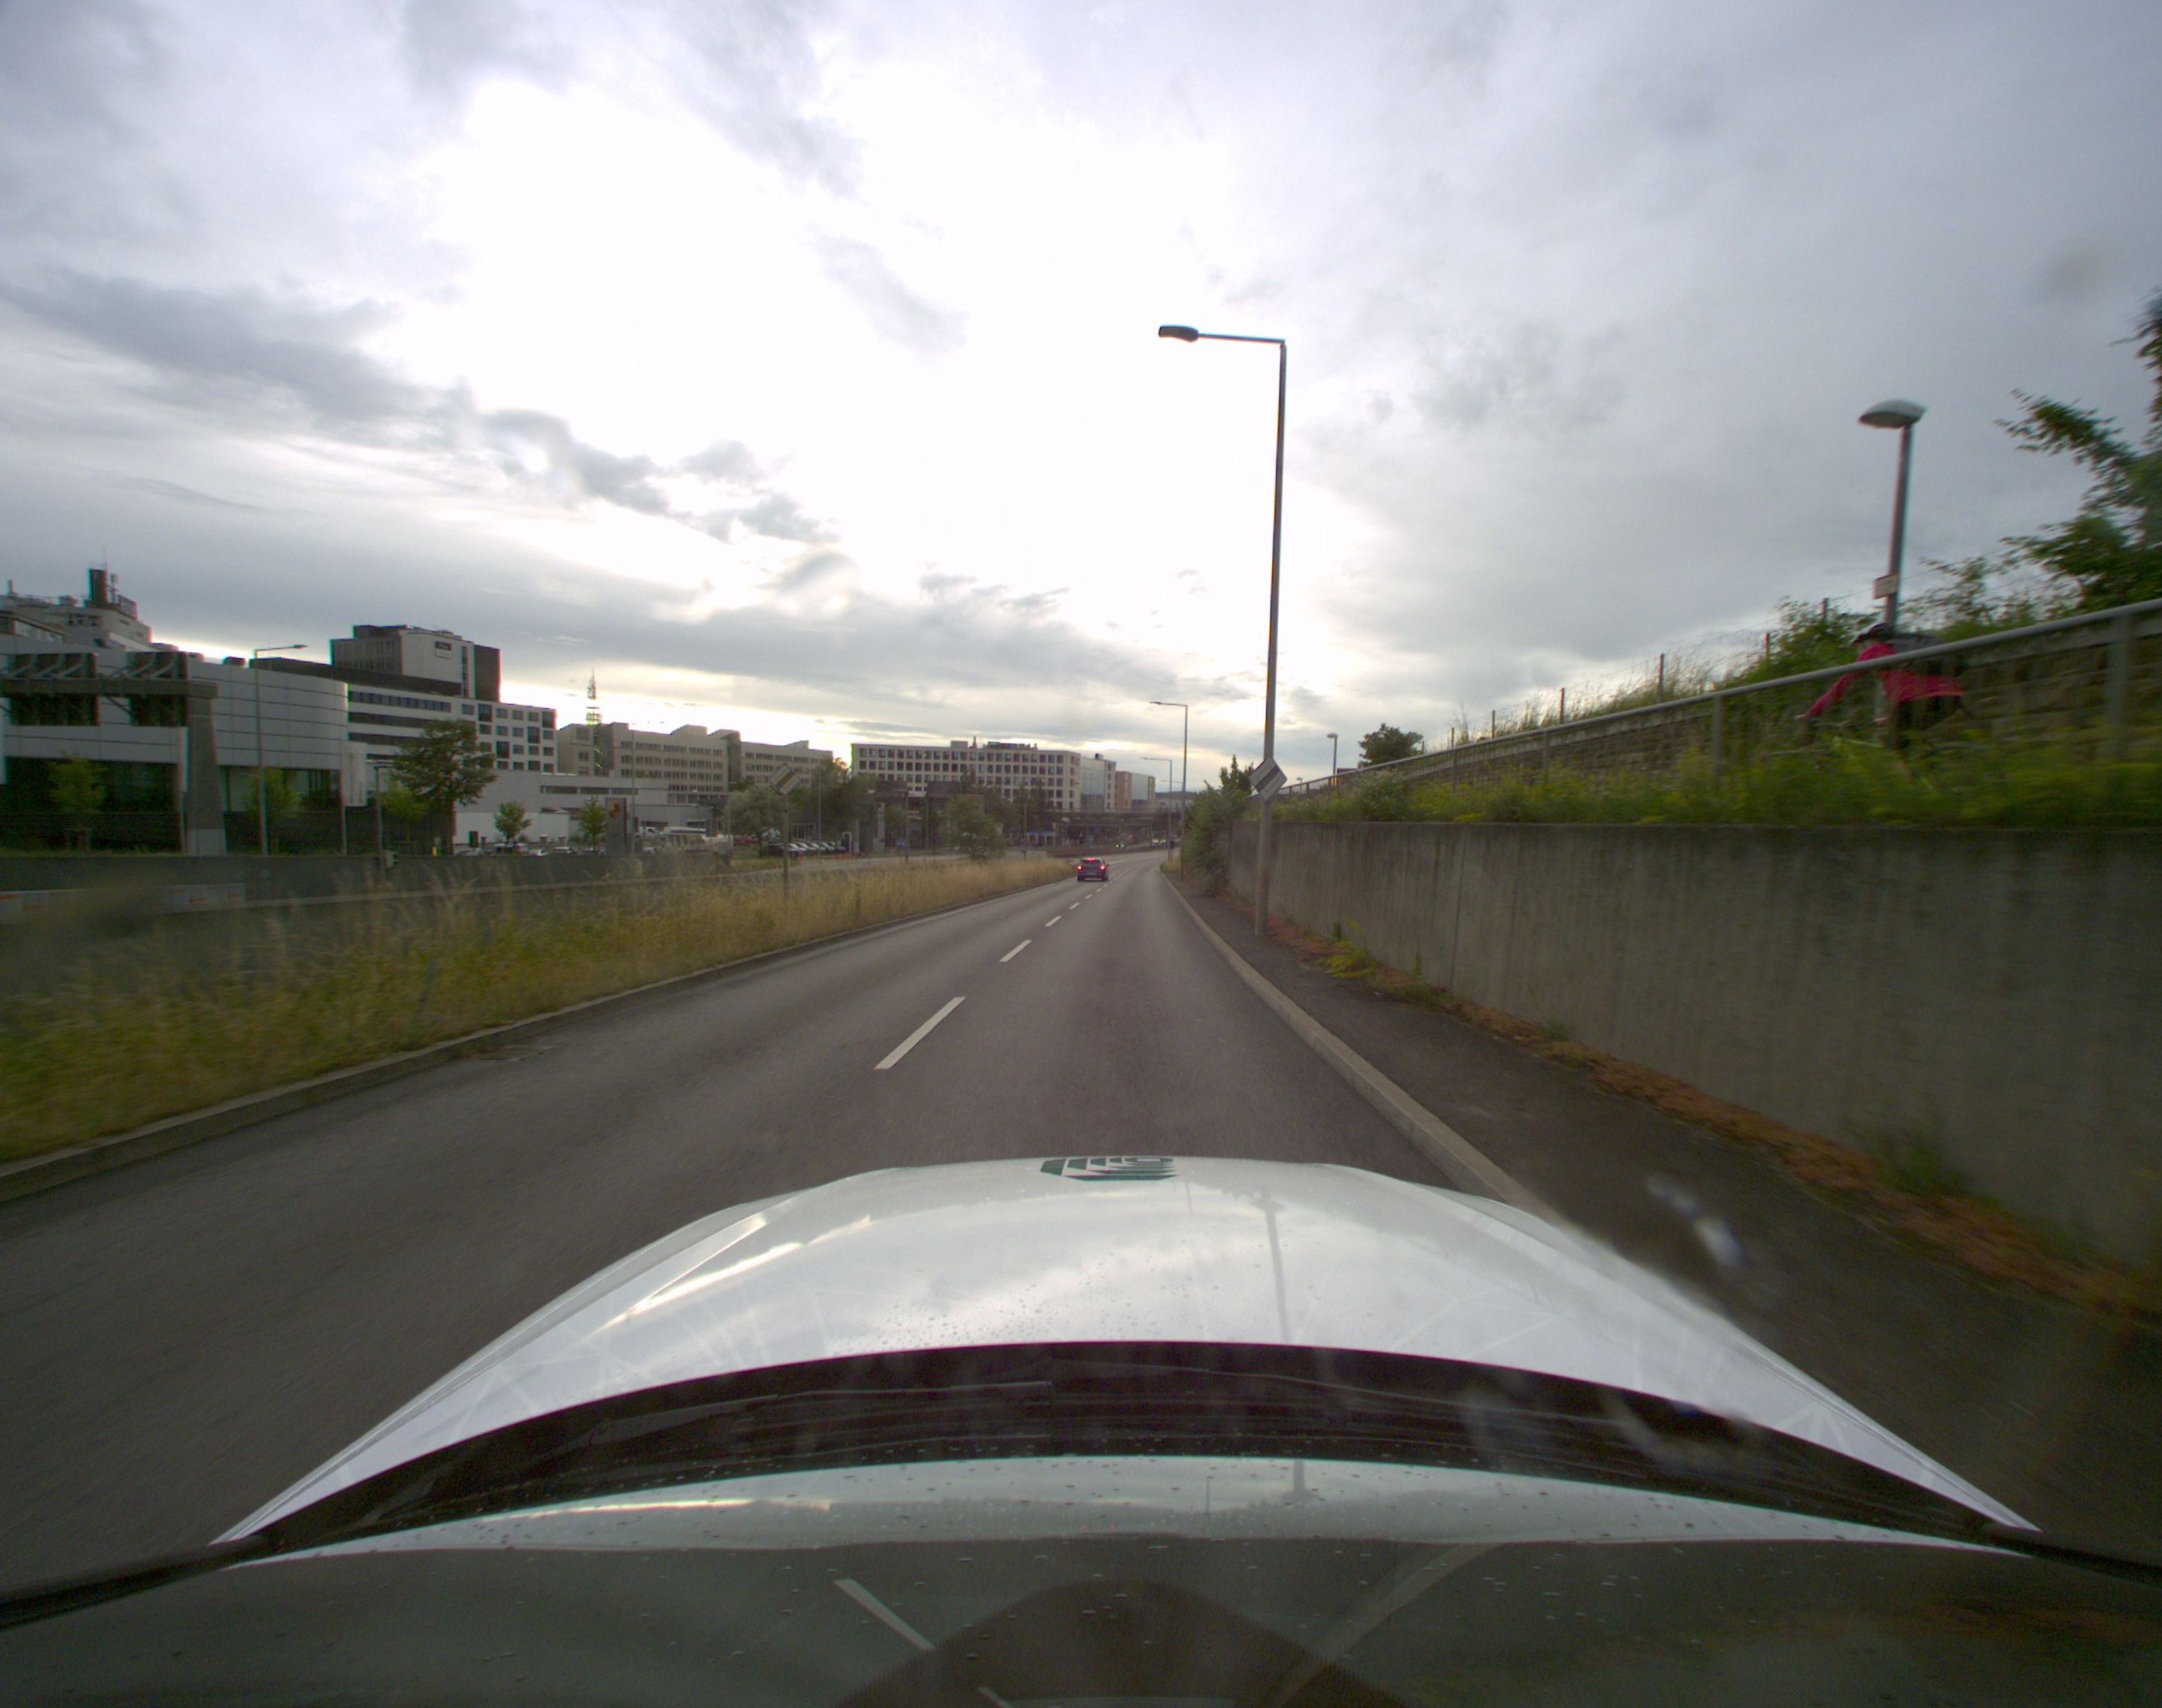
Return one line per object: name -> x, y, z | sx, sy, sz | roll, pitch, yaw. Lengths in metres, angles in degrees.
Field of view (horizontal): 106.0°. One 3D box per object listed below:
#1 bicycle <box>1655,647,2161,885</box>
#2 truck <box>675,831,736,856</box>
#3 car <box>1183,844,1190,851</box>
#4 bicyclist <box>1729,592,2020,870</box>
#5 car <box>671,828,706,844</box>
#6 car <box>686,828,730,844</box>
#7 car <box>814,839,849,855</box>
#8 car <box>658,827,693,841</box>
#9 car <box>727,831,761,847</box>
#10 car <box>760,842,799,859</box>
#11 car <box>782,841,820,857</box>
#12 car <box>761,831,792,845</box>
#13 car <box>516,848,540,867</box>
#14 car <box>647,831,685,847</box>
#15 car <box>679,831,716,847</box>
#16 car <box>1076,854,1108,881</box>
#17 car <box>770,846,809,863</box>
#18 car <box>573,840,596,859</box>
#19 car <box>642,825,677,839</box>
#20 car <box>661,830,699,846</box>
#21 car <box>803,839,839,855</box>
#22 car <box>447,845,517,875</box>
bicycle -> 6.078, -0.577, 6.259 | 0.866, 1.287, 3.489 | 3, 3, 1
truck -> -44.845, -1.349, 97.483 | 2.349, 2.526, 7.443 | 4, 4, 14
car -> 29.709, -1.849, 229.327 | 1.852, 1.749, 4.012 | 4, 4, 9
bicyclist -> 6.103, -0.896, 6.391 | 0.866, 1.908, 1.295 | 3, 3, 1
car -> -52.155, -2.448, 108.237 | 1.978, 1.880, 4.020 | 4, 4, 18
car -> -49.614, -2.397, 108.382 | 1.978, 1.881, 5.563 | 4, 3, 18
car -> -32.999, -0.916, 107.789 | 3.960, 1.683, 1.931 | 4, 4, 13
car -> -54.466, -2.735, 109.511 | 1.902, 1.683, 4.020 | 4, 4, 17
car -> -44.257, -2.025, 107.077 | 1.887, 1.880, 4.020 | 4, 4, 18
car -> -35.700, -0.412, 96.371 | 3.973, 1.599, 1.706 | 4, 4, 13
car -> -34.675, -0.617, 100.773 | 3.960, 1.683, 1.931 | 4, 4, 13
car -> -43.774, -2.328, 117.128 | 3.997, 1.781, 1.913 | 2, 4, -18
car -> -59.871, 0.365, 88.209 | 2.009, 1.683, 3.958 | 0, 5, -36
car -> -52.066, -1.873, 102.201 | 1.902, 1.683, 4.020 | 4, 4, 17
car -> -47.328, -1.896, 100.548 | 1.902, 1.683, 4.020 | 4, 4, 17
car -> 0.729, 0.834, 50.967 | 1.740, 1.419, 3.484 | -2, 2, 5
car -> -35.247, 0.013, 98.508 | 3.960, 1.683, 1.931 | 4, 4, 13
car -> -58.154, -0.519, 95.376 | 2.009, 1.880, 3.958 | 0, 5, -36
car -> -57.277, -3.040, 110.625 | 1.902, 1.683, 4.020 | 4, 4, 17
car -> -49.984, -1.999, 101.612 | 1.902, 1.683, 4.020 | 4, 4, 17
car -> -33.695, -0.932, 105.528 | 3.960, 1.683, 1.931 | 4, 4, 13
car -> -59.355, 0.573, 80.783 | 5.118, 2.488, 2.536 | 3, 4, 1
